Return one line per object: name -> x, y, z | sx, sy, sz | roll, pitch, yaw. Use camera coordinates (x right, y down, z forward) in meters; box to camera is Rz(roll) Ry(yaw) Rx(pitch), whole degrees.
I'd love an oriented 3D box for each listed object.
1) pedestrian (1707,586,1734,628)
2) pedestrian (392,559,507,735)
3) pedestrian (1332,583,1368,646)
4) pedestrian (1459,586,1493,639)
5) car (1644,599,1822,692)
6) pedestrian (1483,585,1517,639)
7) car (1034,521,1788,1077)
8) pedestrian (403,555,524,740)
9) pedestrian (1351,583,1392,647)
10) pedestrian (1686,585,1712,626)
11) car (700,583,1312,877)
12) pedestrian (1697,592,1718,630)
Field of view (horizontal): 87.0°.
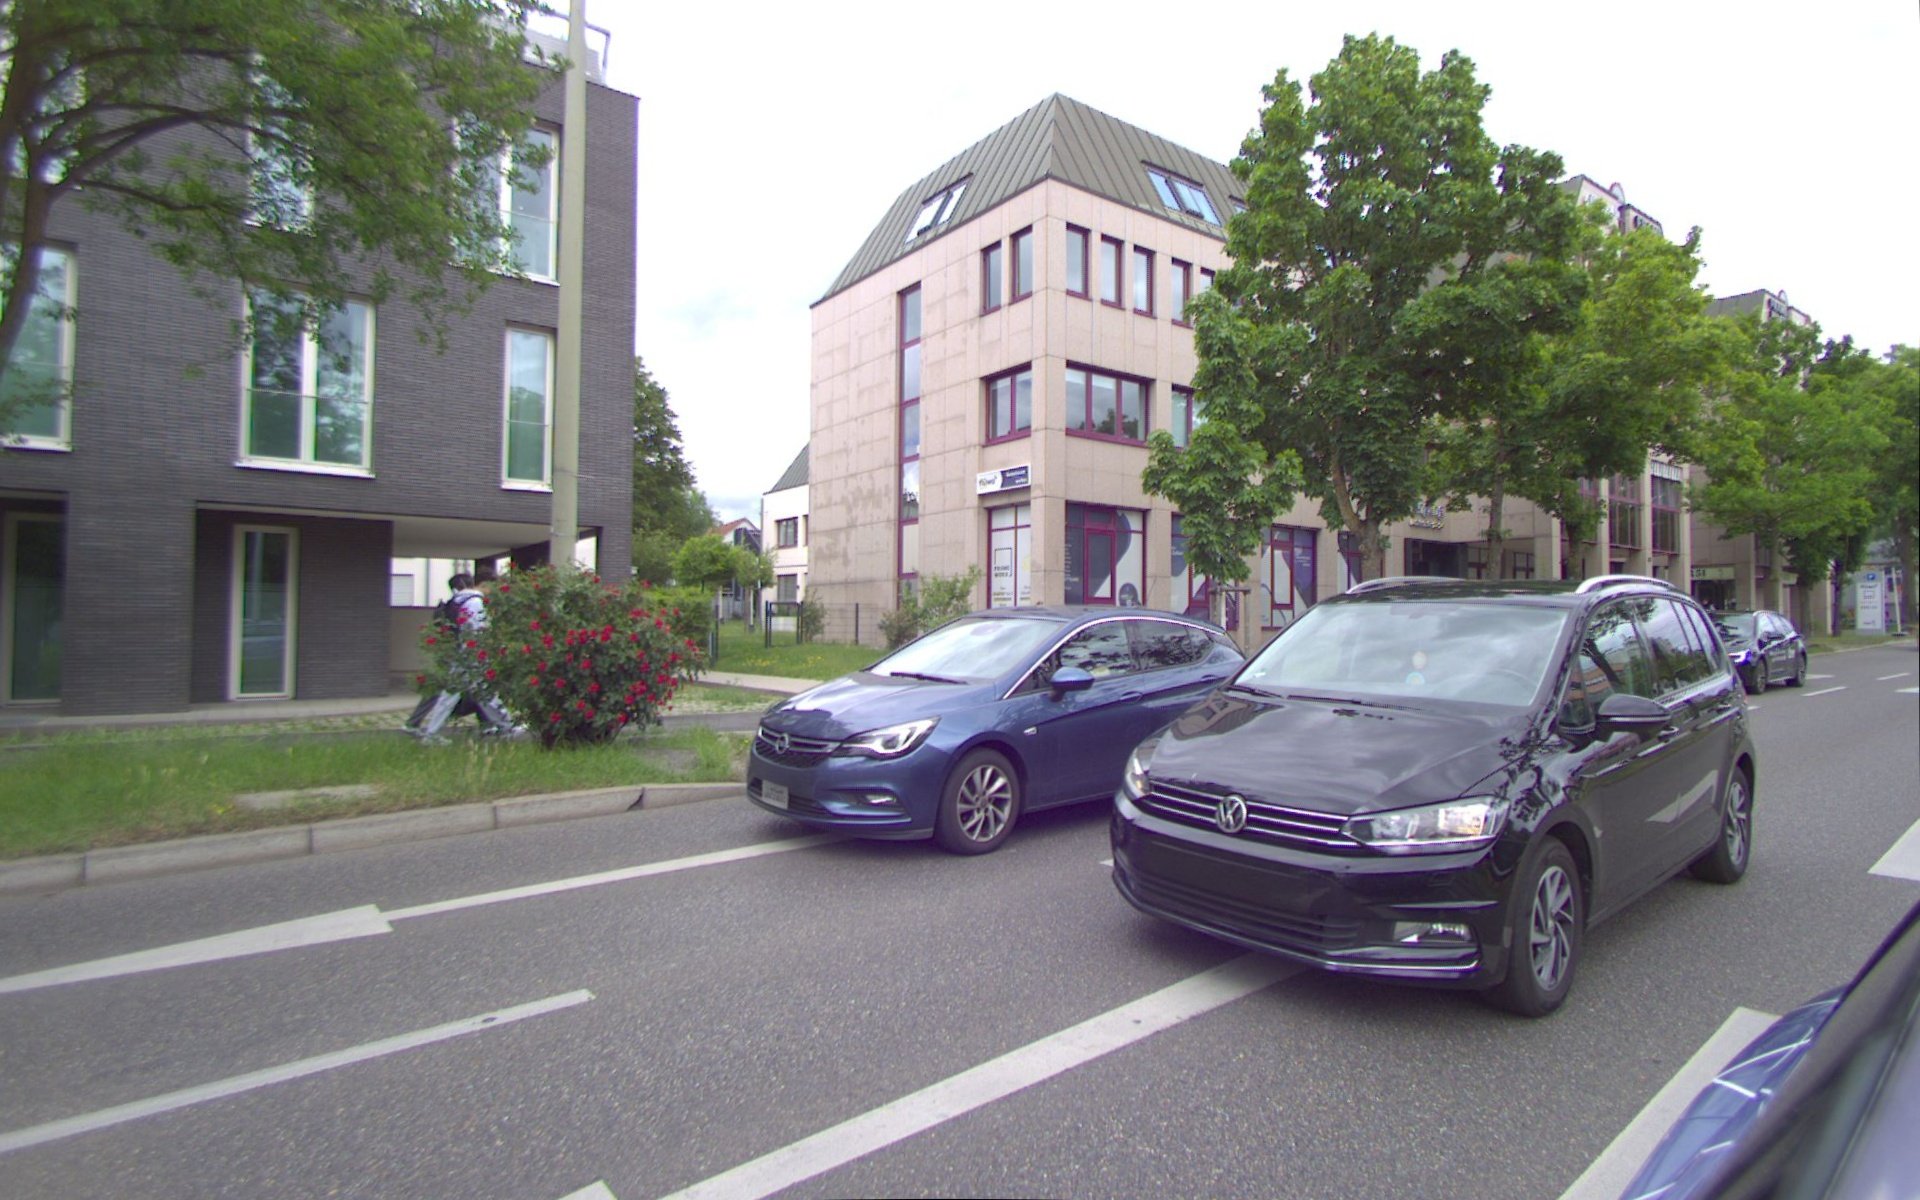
pedestrian -> 32.128, 0.290, 42.749 | 0.827, 1.712, 0.659 | 0, 1, -36
pedestrian -> -5.508, 0.499, 10.926 | 0.936, 1.798, 0.609 | 3, -3, -40
pedestrian -> 10.785, 0.395, 27.998 | 0.814, 1.721, 0.569 | 0, -1, -36
pedestrian -> 17.077, 0.415, 33.494 | 0.951, 1.726, 0.597 | 0, -1, -35
car -> 14.267, 0.747, 18.600 | 4.343, 1.467, 1.767 | -1, 0, -41
pedestrian -> 17.594, 0.390, 32.972 | 0.951, 1.726, 0.597 | 0, -1, -35
car -> 2.559, 0.581, 5.182 | 4.238, 1.661, 1.970 | 0, 1, -42
pedestrian -> -5.093, 0.475, 10.387 | 0.936, 1.798, 0.609 | 3, -3, -40
pedestrian -> 10.996, 0.394, 27.034 | 0.943, 1.673, 0.557 | 0, 0, -34
pedestrian -> 31.676, 0.235, 43.379 | 0.827, 1.712, 0.659 | 0, 1, -36
car -> 0.531, 0.649, 7.290 | 4.238, 1.457, 1.970 | 0, 1, -42
pedestrian -> 30.775, 0.452, 41.660 | 0.534, 1.569, 0.563 | 0, 1, -36
